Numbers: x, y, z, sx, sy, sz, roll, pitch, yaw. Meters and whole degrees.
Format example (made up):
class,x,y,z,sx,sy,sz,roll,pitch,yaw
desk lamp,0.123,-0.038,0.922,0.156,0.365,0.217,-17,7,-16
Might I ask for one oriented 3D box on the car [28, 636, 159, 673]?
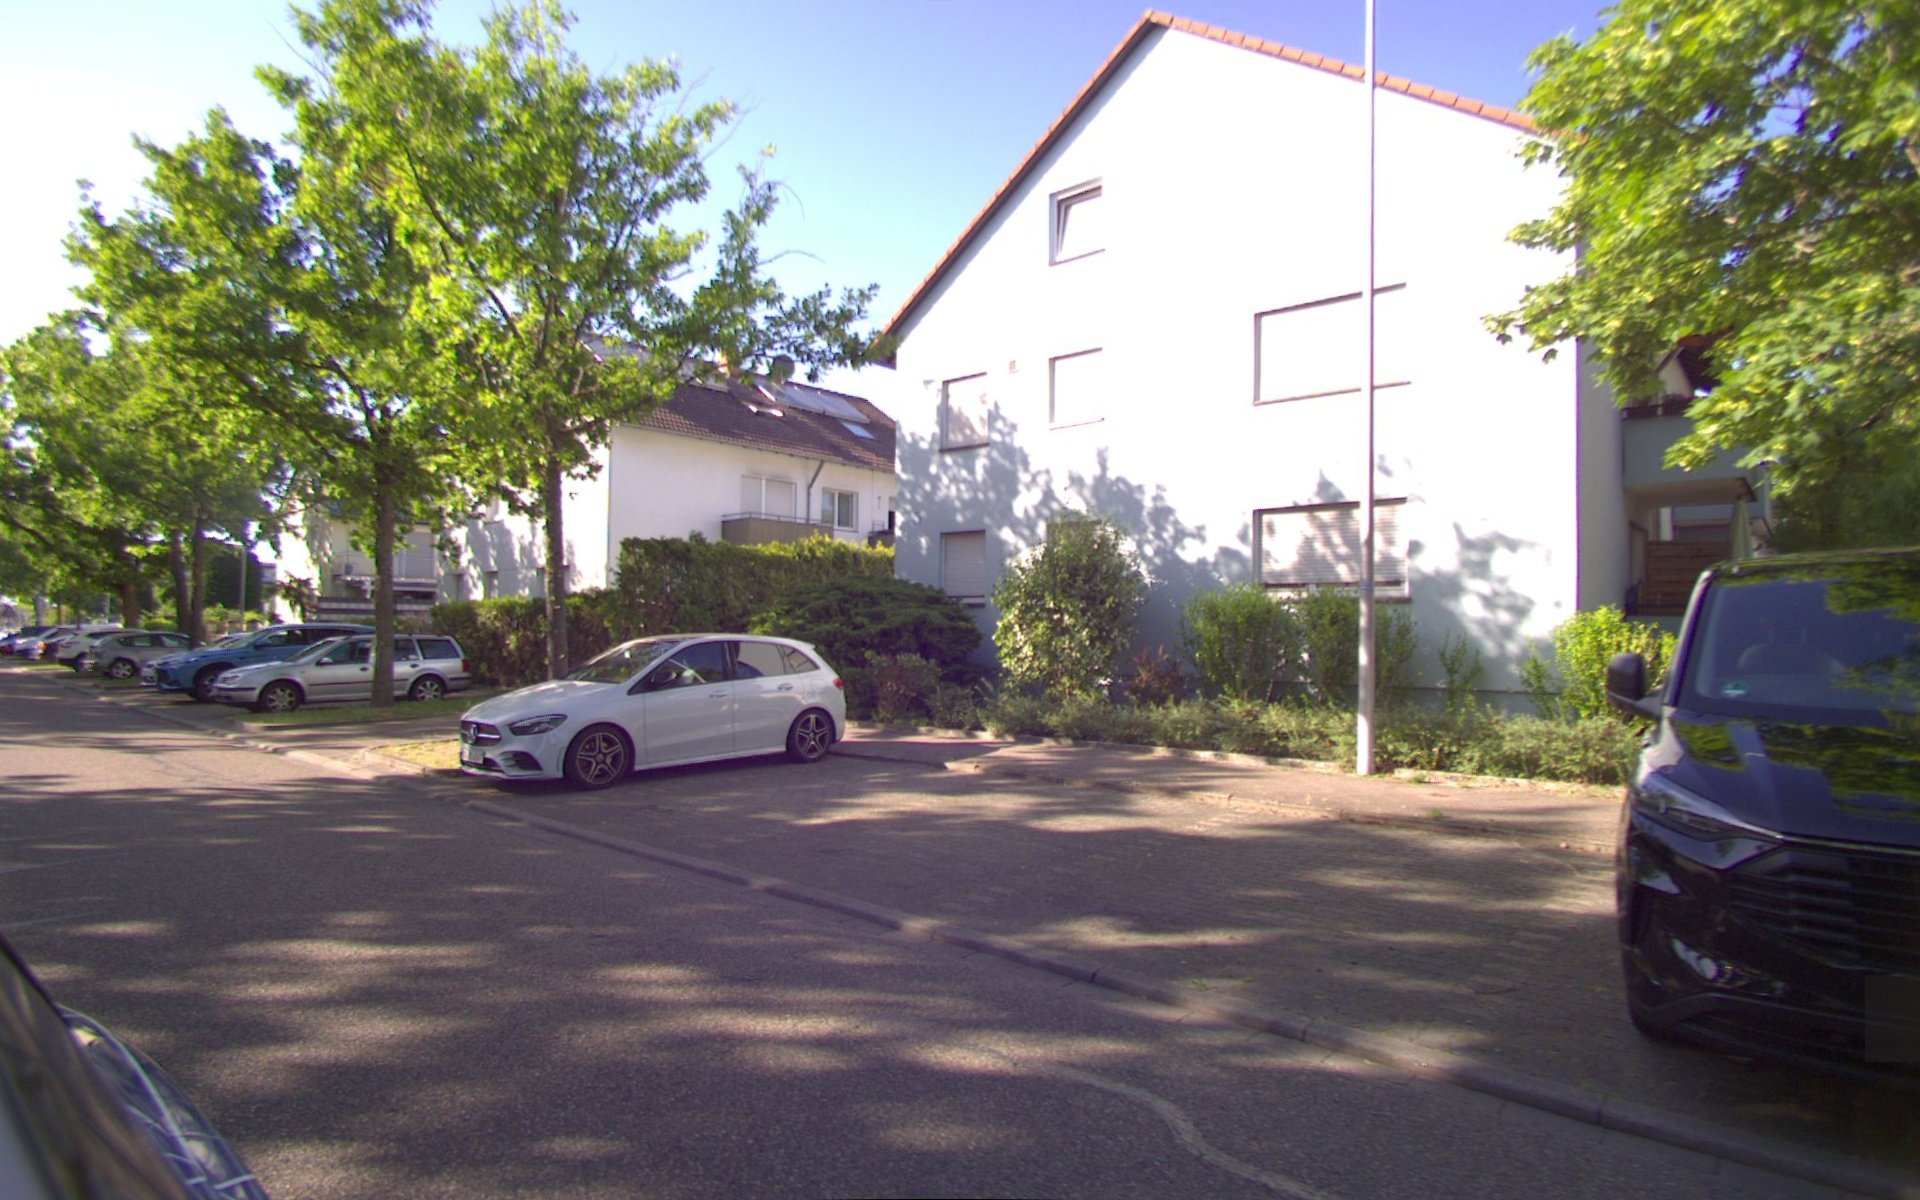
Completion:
class,x,y,z,sx,sy,sz,roll,pitch,yaw
car,-37.122,2.311,43.428,4.161,1.483,1.692,2,-3,-44

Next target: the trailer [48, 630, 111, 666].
class,x,y,z,sx,sy,sz,roll,pitch,yaw
trailer,-42.596,2.321,48.970,2.209,1.686,1.476,2,-3,-42

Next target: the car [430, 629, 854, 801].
class,x,y,z,sx,sy,sz,roll,pitch,yaw
car,-3.366,1.102,11.329,1.768,1.489,4.230,-2,-1,42

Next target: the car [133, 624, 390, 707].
class,x,y,z,sx,sy,sz,roll,pitch,yaw
car,-15.604,1.383,22.775,1.938,1.643,4.473,-1,-1,44

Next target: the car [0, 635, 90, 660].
class,x,y,z,sx,sy,sz,roll,pitch,yaw
car,-57.300,2.973,63.160,1.721,1.435,4.231,-1,-4,37

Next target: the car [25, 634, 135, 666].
class,x,y,z,sx,sy,sz,roll,pitch,yaw
car,-44.216,2.481,50.902,1.689,1.528,3.946,-1,-3,40

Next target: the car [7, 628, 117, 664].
class,x,y,z,sx,sy,sz,roll,pitch,yaw
car,-48.092,2.423,54.266,1.966,1.783,4.194,-2,-1,41

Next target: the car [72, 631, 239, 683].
class,x,y,z,sx,sy,sz,roll,pitch,yaw
car,-25.937,1.804,32.725,1.809,1.434,3.991,-2,0,42

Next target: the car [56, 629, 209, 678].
class,x,y,z,sx,sy,sz,roll,pitch,yaw
car,-29.738,1.872,36.448,1.793,1.579,4.140,-2,-1,45

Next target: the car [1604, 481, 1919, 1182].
class,x,y,z,sx,sy,sz,roll,pitch,yaw
car,4.390,0.656,4.413,2.017,1.931,4.730,-2,-2,40

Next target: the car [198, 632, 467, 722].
class,x,y,z,sx,sy,sz,roll,pitch,yaw
car,-12.021,1.390,19.588,1.647,1.503,4.137,-1,-2,42

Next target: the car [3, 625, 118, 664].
class,x,y,z,sx,sy,sz,roll,pitch,yaw
car,-46.453,2.291,52.351,1.999,1.959,4.192,-2,-3,41

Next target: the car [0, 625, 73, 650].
class,x,y,z,sx,sy,sz,roll,pitch,yaw
car,-63.096,2.585,68.891,3.954,1.527,1.796,5,-6,-44

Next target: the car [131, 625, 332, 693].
class,x,y,z,sx,sy,sz,roll,pitch,yaw
car,-18.849,1.497,26.300,1.857,1.608,3.943,-2,-3,43

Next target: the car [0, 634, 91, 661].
class,x,y,z,sx,sy,sz,roll,pitch,yaw
car,-53.598,2.731,58.897,1.837,1.511,4.427,-2,-3,43
